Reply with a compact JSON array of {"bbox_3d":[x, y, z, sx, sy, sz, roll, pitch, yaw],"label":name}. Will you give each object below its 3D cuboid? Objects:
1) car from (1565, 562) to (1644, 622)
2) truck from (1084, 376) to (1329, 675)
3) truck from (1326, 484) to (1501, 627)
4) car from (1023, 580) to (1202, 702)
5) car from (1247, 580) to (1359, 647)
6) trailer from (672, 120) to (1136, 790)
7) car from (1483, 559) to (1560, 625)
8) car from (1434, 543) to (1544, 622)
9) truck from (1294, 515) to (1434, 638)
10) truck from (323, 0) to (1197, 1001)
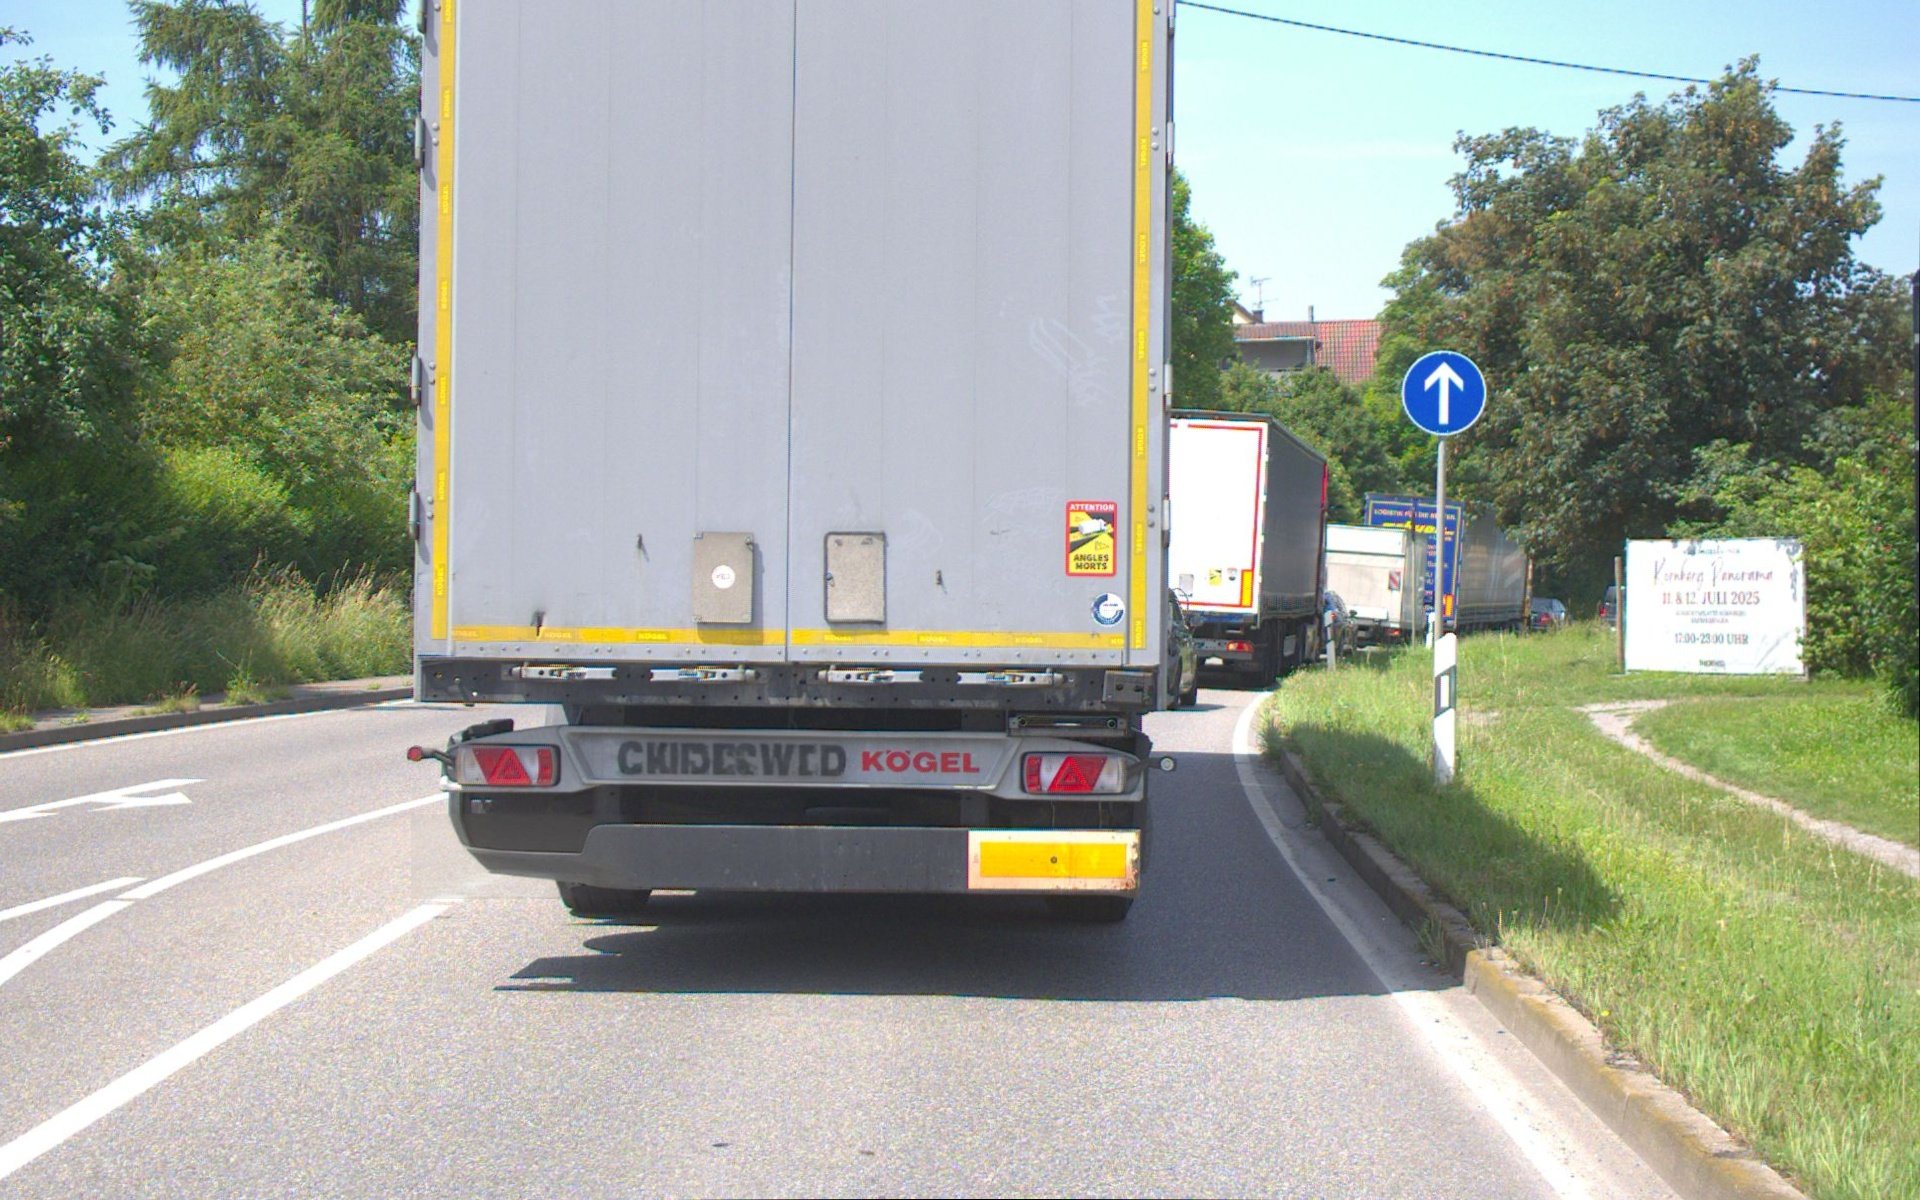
[{"bbox_3d":[22.238,-0.251,118.514,1.995,2.007,3.996,1,0,20],"label":"car"},{"bbox_3d":[4.408,-1.070,57.559,2.761,4.274,16.409,1,0,9],"label":"truck"},{"bbox_3d":[12.222,-1.222,91.865,3.435,3.592,9.347,1,1,15],"label":"truck"},{"bbox_3d":[1.859,0.460,40.826,1.819,1.342,3.846,1,0,7],"label":"car"},{"bbox_3d":[7.398,0.280,73.857,1.994,1.371,3.998,1,0,11],"label":"car"},{"bbox_3d":[-0.195,-0.951,24.371,2.825,4.097,6.544,0,1,3],"label":"trailer"},{"bbox_3d":[17.894,-0.247,109.475,1.995,2.007,3.997,1,0,15],"label":"car"},{"bbox_3d":[15.910,-0.557,103.104,2.533,2.269,6.376,1,1,15],"label":"car"},{"bbox_3d":[9.669,-0.542,81.856,2.545,2.793,6.028,1,0,14],"label":"truck"},{"bbox_3d":[-0.480,-0.873,16.965,2.822,4.113,11.443,1,1,2],"label":"truck"}]
